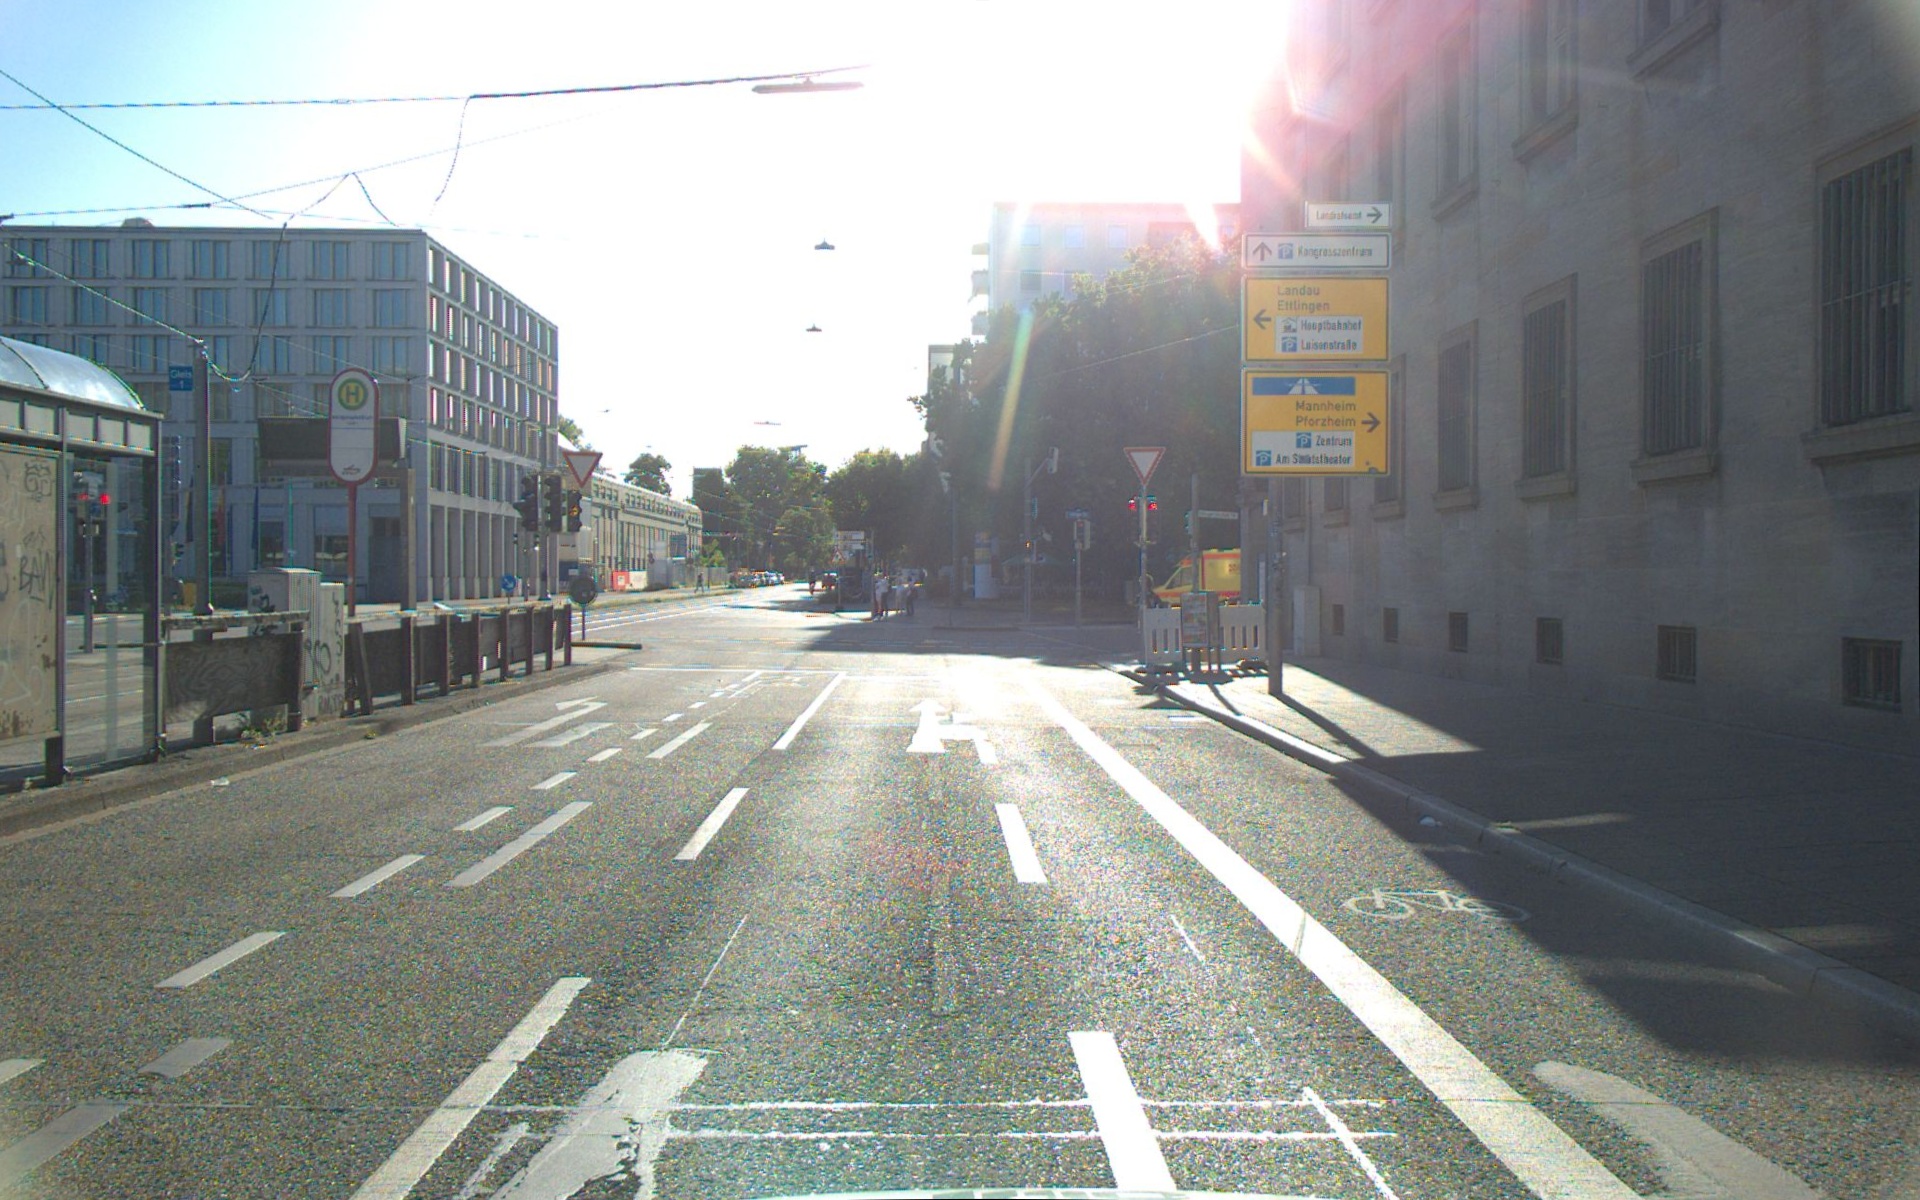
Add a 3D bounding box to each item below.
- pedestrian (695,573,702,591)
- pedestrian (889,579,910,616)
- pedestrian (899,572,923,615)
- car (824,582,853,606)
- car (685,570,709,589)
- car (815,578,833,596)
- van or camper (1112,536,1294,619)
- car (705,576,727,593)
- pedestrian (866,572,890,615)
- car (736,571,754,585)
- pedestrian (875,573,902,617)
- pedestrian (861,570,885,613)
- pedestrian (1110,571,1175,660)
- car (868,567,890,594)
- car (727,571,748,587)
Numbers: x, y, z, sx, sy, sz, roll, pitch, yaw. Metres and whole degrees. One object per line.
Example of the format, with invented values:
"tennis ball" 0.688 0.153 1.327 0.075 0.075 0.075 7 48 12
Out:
"pedestrian" -22.223 -1.515 140.411 0.513 1.510 0.437 2 -1 -2
"pedestrian" -2.597 -0.096 71.129 0.750 1.586 0.585 0 0 -18
"pedestrian" -2.083 -0.261 70.424 0.834 1.815 0.776 0 0 -17
"car" -7.809 -0.374 106.768 1.650 1.527 3.508 2 0 -1
"car" -24.978 -1.960 157.090 1.782 1.742 3.805 0 1 -1
"car" -14.183 -1.382 172.604 1.650 1.768 3.508 2 0 -1
"van or camper" 9.144 -0.833 62.883 6.568 2.911 2.912 2 0 3
"car" -24.758 -1.575 167.890 1.782 1.742 3.805 0 1 -1
"pedestrian" -3.508 -0.279 70.558 0.834 1.815 0.776 0 0 -17
"car" -23.848 -2.392 183.631 1.577 1.524 3.805 0 1 -1
"pedestrian" -2.996 -0.216 69.115 0.951 1.815 0.776 0 0 -18
"pedestrian" -3.759 -0.375 71.344 0.834 1.815 0.776 0 0 -17
"pedestrian" 3.669 0.305 33.291 1.021 1.751 1.032 0 0 -13
"car" -6.441 -1.538 131.671 1.650 1.996 3.508 2 0 -1
"car" -24.154 -2.286 179.740 1.782 1.742 3.805 0 1 -1
